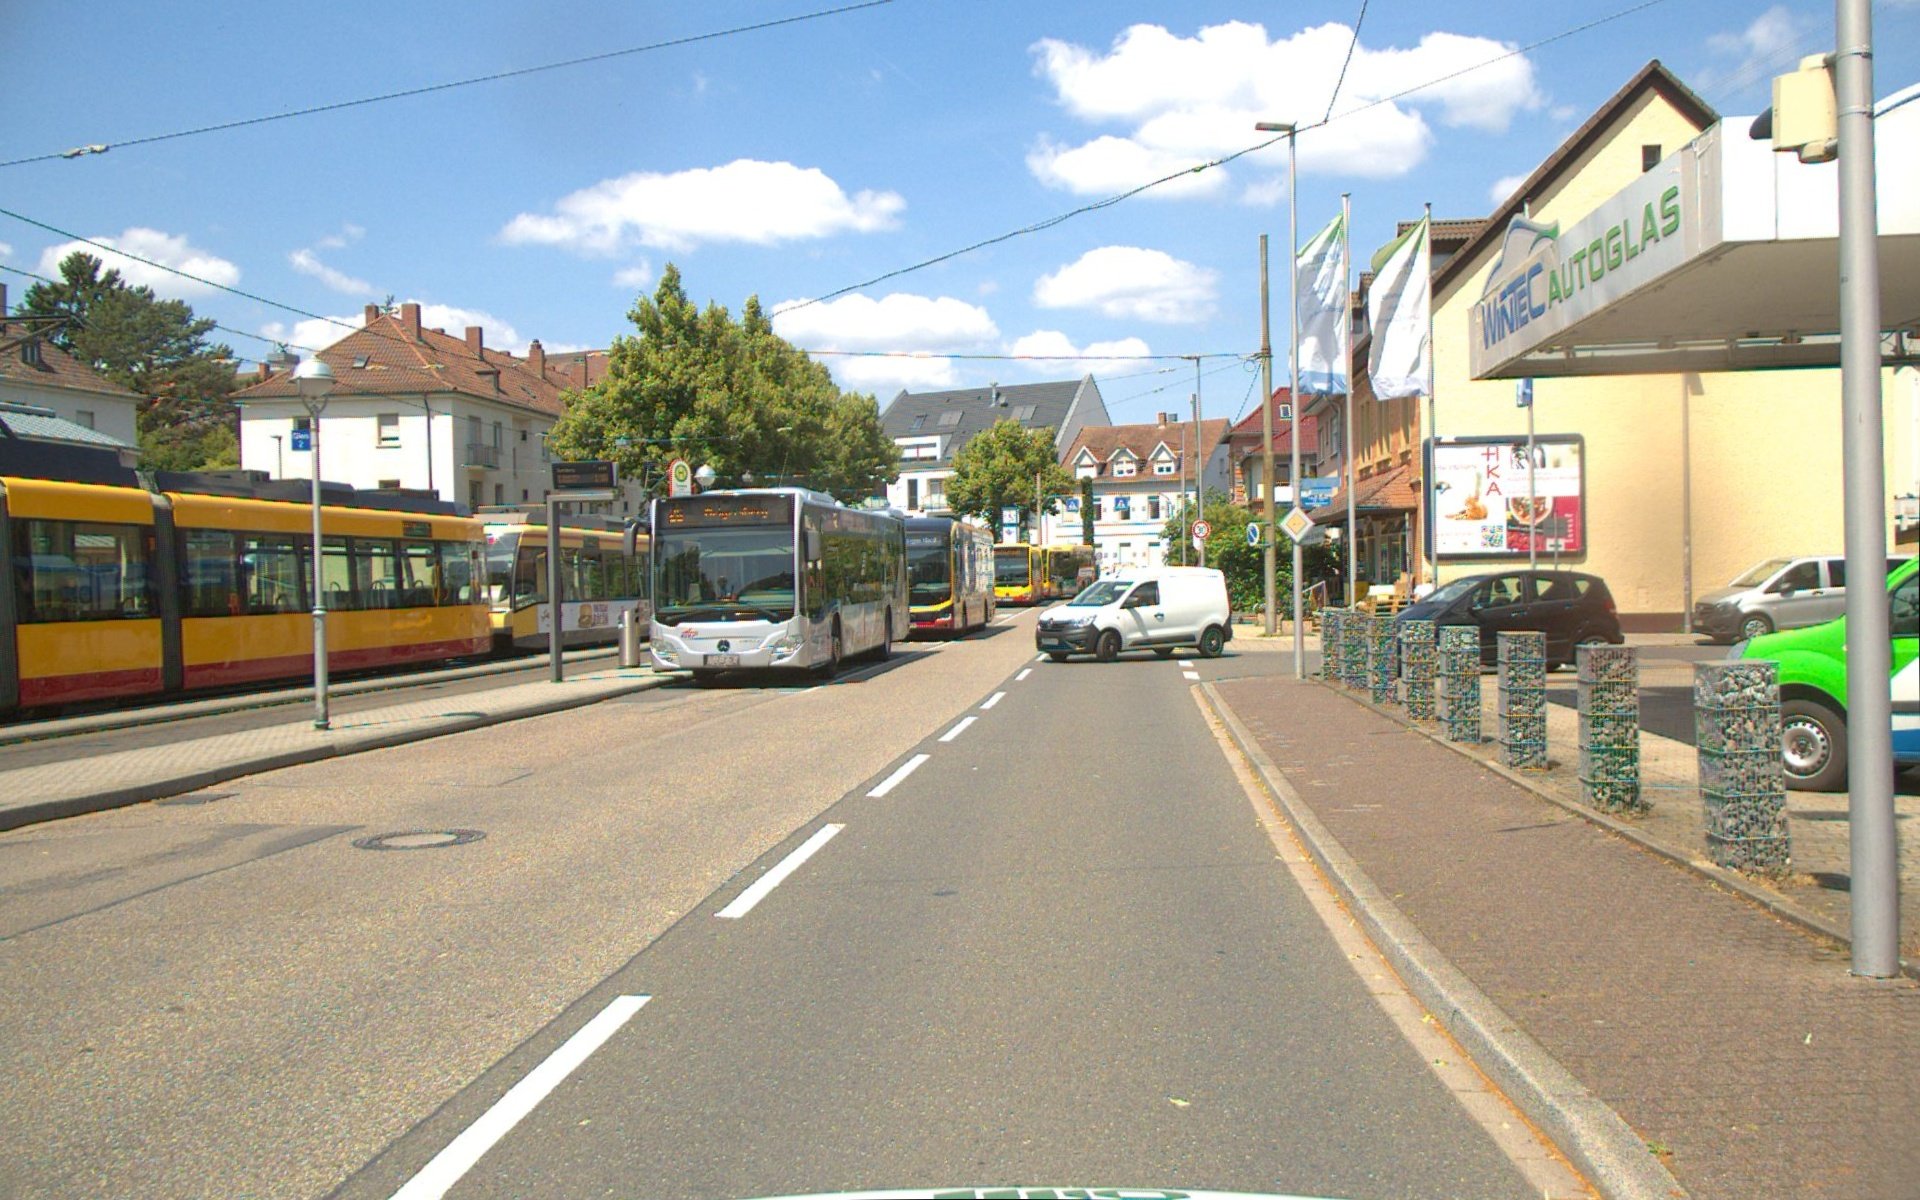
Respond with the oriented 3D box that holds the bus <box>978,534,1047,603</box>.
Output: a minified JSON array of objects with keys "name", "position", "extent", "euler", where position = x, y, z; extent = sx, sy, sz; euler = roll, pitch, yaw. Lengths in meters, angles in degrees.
[{"name":"bus","position":[2.858,-1.614,86.247],"extent":[2.846,3.304,12.127],"euler":[1,1,5]}]

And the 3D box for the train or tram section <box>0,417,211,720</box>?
[{"name":"train or tram section","position":[-12.447,-0.355,21.639],"extent":[2.900,3.556,4.420],"euler":[-2,0,6]}]

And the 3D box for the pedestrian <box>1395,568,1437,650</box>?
[{"name":"pedestrian","position":[9.524,0.179,34.505],"extent":[0.691,1.670,0.659],"euler":[-1,2,26]}]

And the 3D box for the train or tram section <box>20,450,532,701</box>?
[{"name":"train or tram section","position":[-11.486,-0.431,30.082],"extent":[2.900,3.556,12.666],"euler":[1,1,6]}]

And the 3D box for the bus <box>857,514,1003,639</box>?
[{"name":"bus","position":[-0.651,-0.590,50.285],"extent":[2.836,3.304,12.204],"euler":[1,0,6]}]

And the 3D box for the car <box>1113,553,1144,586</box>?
[{"name":"car","position":[11.213,-1.995,109.992],"extent":[1.951,2.049,4.003],"euler":[1,0,6]}]

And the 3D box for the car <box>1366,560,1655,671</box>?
[{"name":"car","position":[8.450,0.227,25.561],"extent":[3.802,1.570,1.839],"euler":[-1,0,-7]}]

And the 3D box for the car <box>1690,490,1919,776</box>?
[{"name":"car","position":[7.204,0.227,10.670],"extent":[1.809,1.821,4.220],"euler":[1,0,-44]}]

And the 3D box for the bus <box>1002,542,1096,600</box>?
[{"name":"bus","position":[5.506,-1.848,99.756],"extent":[2.721,3.264,12.315],"euler":[1,2,17]}]

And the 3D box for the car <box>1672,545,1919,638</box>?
[{"name":"car","position":[18.561,-0.188,36.368],"extent":[4.948,1.894,1.909],"euler":[-1,0,2]}]

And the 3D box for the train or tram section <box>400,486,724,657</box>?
[{"name":"train or tram section","position":[-9.991,-0.720,44.966],"extent":[2.900,3.706,17.364],"euler":[1,1,6]}]

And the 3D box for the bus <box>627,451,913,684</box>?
[{"name":"bus","position":[-3.054,-0.465,31.008],"extent":[2.846,3.487,12.047],"euler":[1,0,5]}]

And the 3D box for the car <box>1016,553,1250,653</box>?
[{"name":"car","position":[3.510,0.003,33.200],"extent":[4.652,1.883,1.691],"euler":[-1,1,-32]}]

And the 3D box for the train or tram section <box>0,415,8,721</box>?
[{"name":"train or tram section","position":[-13.251,-0.325,13.182],"extent":[2.900,3.556,12.722],"euler":[1,1,6]}]
